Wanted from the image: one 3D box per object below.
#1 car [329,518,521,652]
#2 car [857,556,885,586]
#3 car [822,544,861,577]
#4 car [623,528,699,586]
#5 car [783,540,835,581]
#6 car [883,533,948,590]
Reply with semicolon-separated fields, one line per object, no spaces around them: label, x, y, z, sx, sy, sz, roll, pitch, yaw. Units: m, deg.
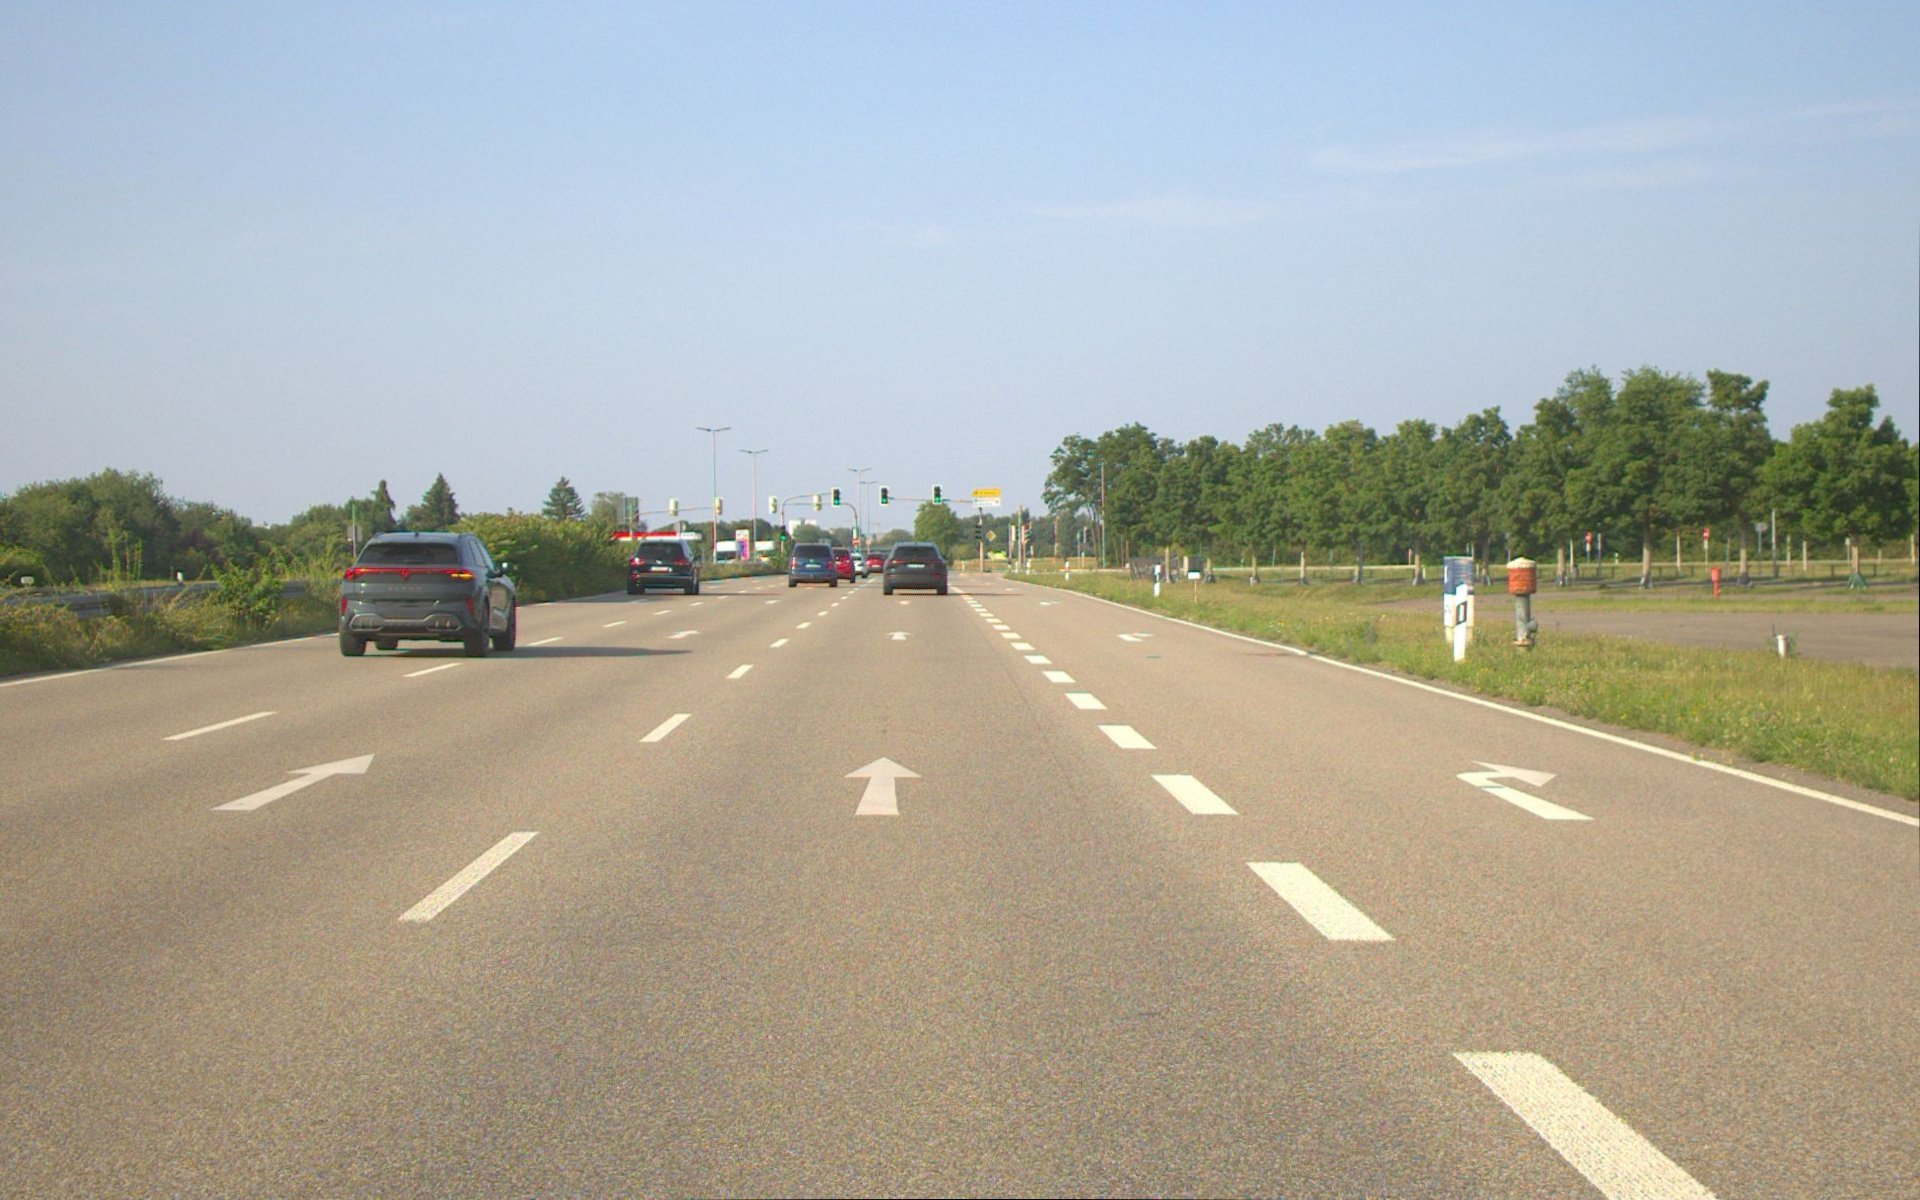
car;-6.929;-0.224;44.947;1.845;1.606;4.401;2;1;-1
car;-5.217;-1.705;201.309;1.645;1.722;3.401;1;0;-1
car;-5.333;-1.793;155.520;1.647;1.458;3.981;2;1;-1
car;-8.989;-1.308;103.606;1.932;1.674;4.401;2;1;-1
car;-5.685;-1.494;129.900;1.812;1.458;4.401;2;1;-1
car;-1.381;-1.197;106.077;1.932;1.674;4.401;2;1;-1
